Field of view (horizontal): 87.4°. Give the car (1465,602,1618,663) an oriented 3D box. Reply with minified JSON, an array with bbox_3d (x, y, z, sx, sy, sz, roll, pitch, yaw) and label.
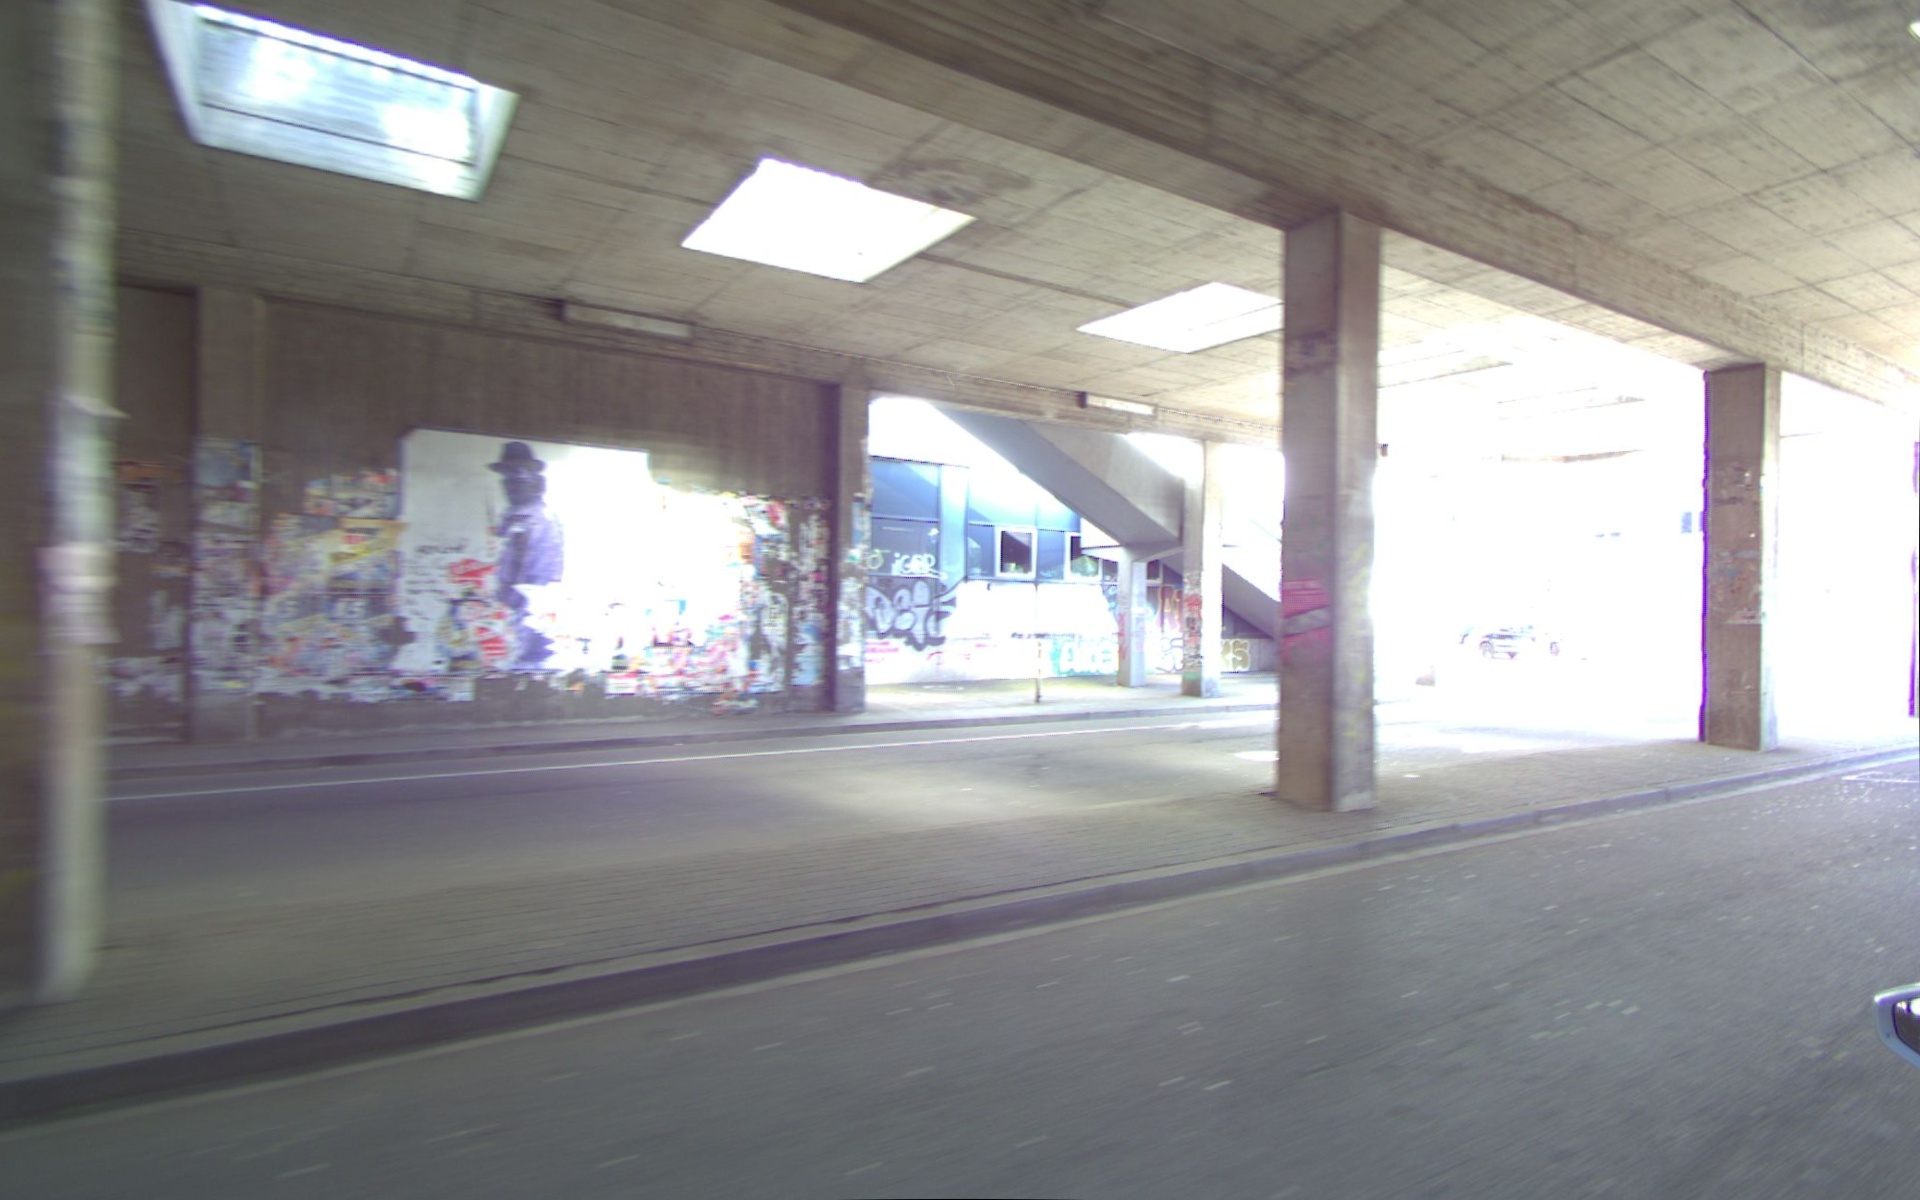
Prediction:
[{"bbox_3d":[21.146,1.102,36.699,1.977,2.041,4.455,-1,1,-32],"label":"car"}]
